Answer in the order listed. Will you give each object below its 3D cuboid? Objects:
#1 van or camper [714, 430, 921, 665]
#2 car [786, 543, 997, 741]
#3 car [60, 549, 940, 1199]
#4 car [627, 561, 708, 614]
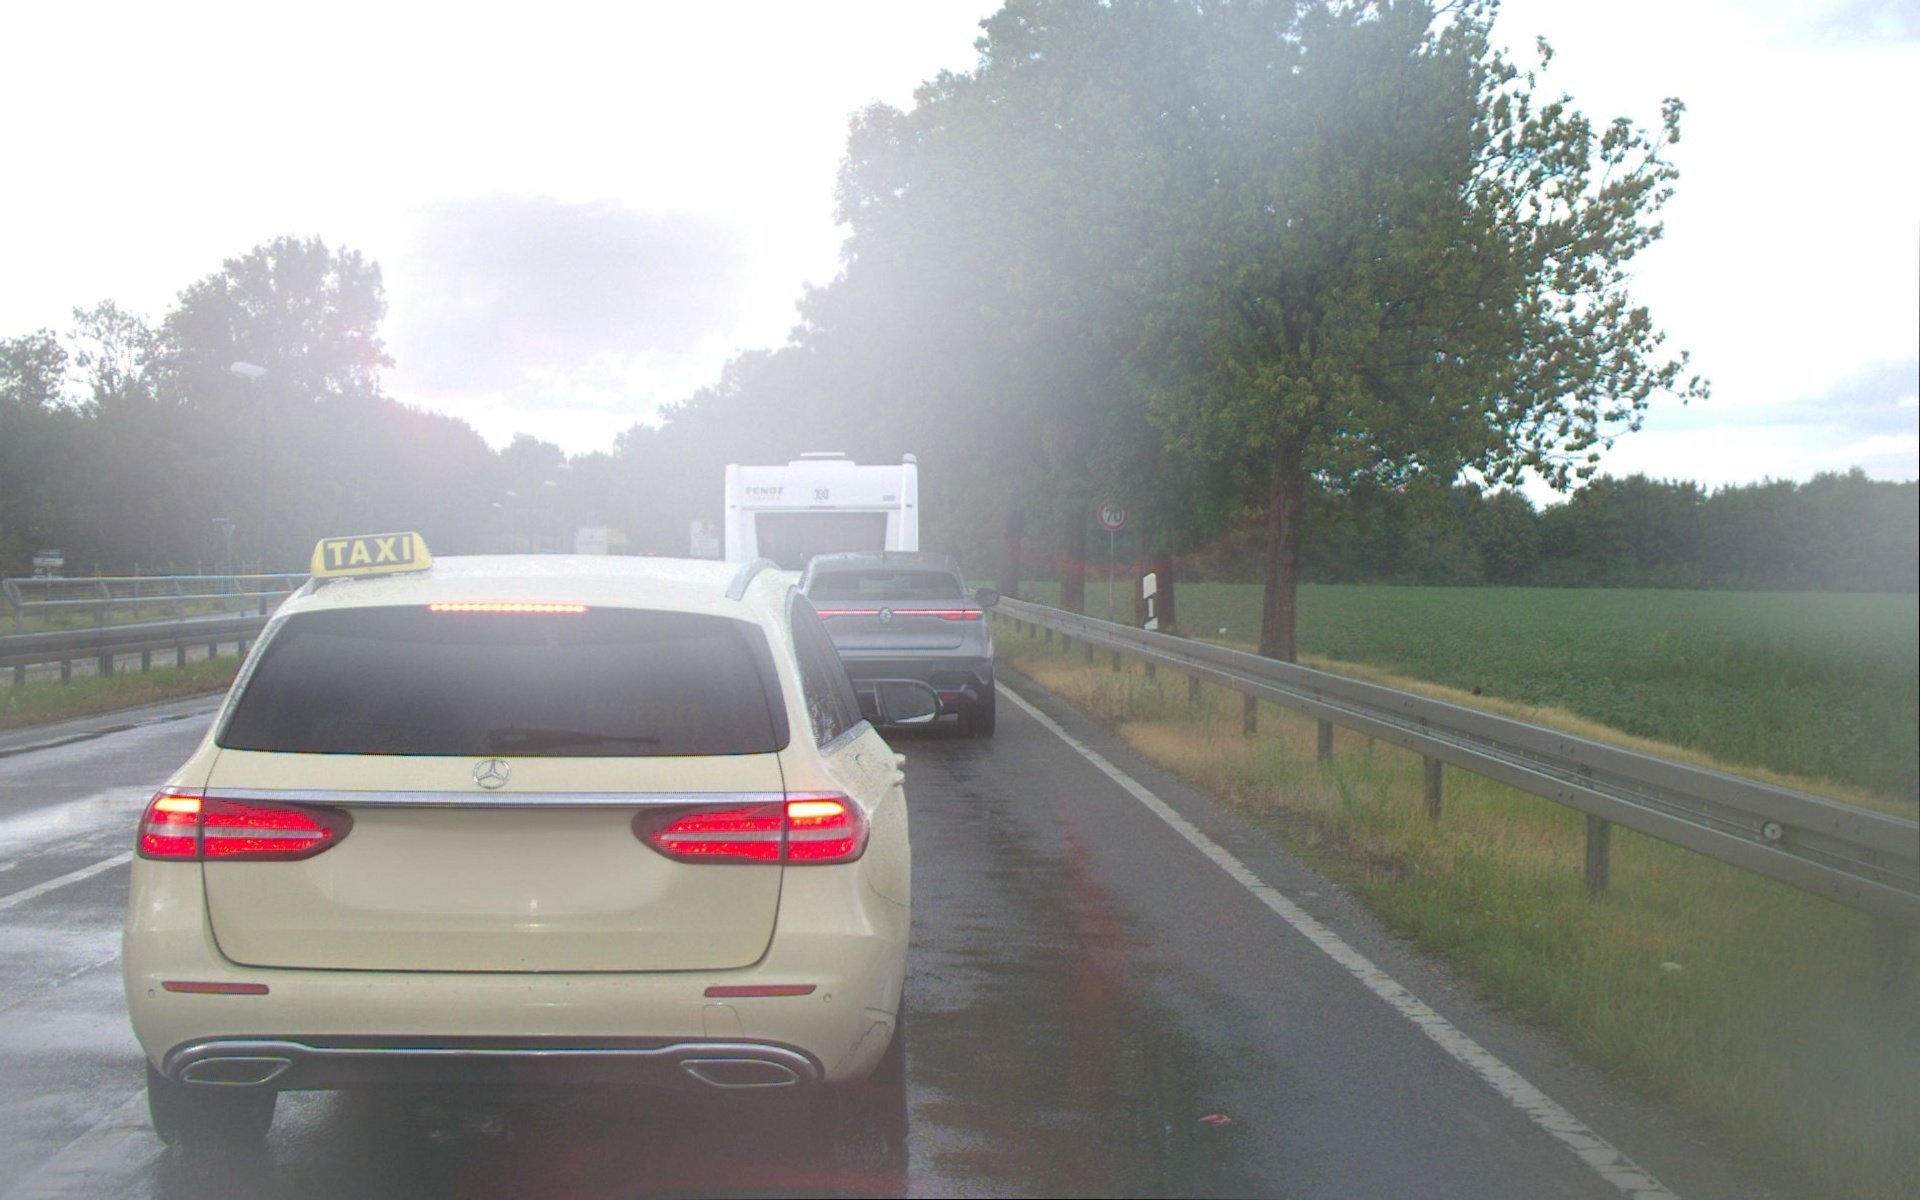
[{"bbox_3d":[-1.695,-0.667,42.497,2.350,2.671,5.769,1,1,-1],"label":"van or camper"},{"bbox_3d":[-0.568,0.294,28.678,1.627,1.524,3.933,0,1,-1],"label":"car"},{"bbox_3d":[-0.982,0.605,9.321,1.825,1.480,4.145,0,1,0],"label":"car"},{"bbox_3d":[-7.297,-0.338,86.098,1.758,1.265,4.000,0,1,-1],"label":"car"}]
